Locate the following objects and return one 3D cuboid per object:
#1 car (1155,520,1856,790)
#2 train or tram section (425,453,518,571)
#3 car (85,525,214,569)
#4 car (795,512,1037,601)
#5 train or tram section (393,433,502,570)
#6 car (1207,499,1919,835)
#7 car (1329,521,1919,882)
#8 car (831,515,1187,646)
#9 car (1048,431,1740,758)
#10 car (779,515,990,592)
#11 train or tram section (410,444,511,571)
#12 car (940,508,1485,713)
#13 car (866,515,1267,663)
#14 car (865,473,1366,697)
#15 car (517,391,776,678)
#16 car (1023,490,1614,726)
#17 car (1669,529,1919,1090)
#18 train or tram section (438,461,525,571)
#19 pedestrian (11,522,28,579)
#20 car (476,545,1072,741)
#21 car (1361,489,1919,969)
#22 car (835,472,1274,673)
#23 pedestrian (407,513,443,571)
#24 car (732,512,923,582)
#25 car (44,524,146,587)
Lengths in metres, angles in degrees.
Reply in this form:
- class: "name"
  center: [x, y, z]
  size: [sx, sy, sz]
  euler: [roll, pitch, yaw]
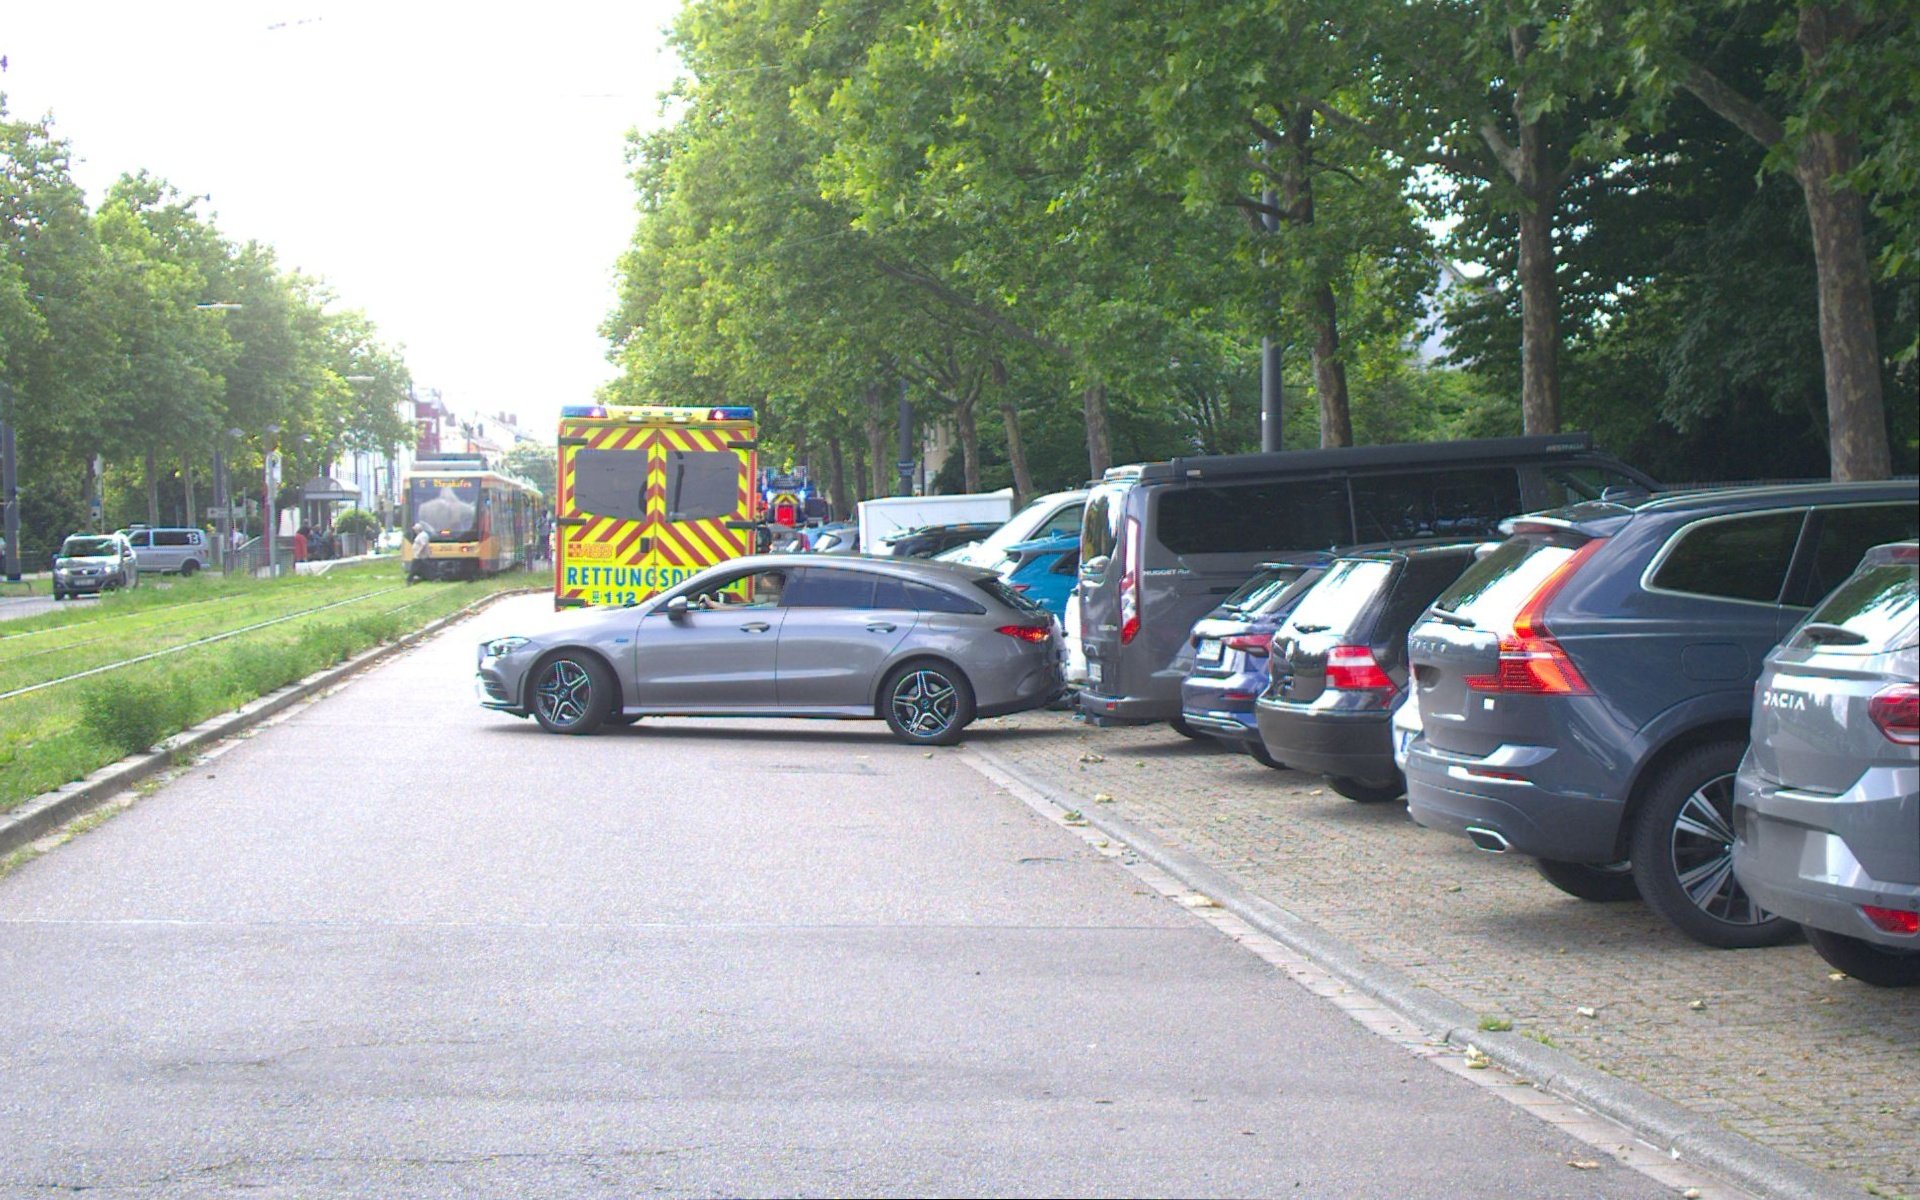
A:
- class: "car"
  center: [3.331, 0.311, 21.419]
  size: [3.965, 1.489, 1.756]
  euler: [-2, 1, -5]
- class: "train or tram section"
  center: [-15.618, -2.757, 110.283]
  size: [2.511, 3.572, 7.446]
  euler: [-2, 1, -6]
- class: "car"
  center: [-31.759, -2.083, 134.786]
  size: [4.615, 1.627, 1.882]
  euler: [-2, 2, -44]
- class: "car"
  center: [-0.896, -0.874, 68.163]
  size: [4.544, 1.603, 1.856]
  euler: [-2, 1, -9]
- class: "train or tram section"
  center: [-14.175, -2.652, 95.472]
  size: [2.511, 3.572, 7.446]
  euler: [-2, 1, -6]
- class: "car"
  center: [3.523, 0.301, 18.619]
  size: [3.964, 1.600, 1.757]
  euler: [-2, 1, -15]
- class: "car"
  center: [3.857, 0.400, 15.916]
  size: [3.965, 1.489, 1.756]
  euler: [-2, 1, -5]
- class: "car"
  center: [0.634, -0.281, 46.658]
  size: [4.544, 1.603, 1.856]
  euler: [-2, 1, -9]
- class: "car"
  center: [3.027, -0.066, 24.516]
  size: [4.545, 2.116, 1.856]
  euler: [-2, 1, -5]
- class: "car"
  center: [-1.734, -1.070, 77.978]
  size: [4.544, 1.603, 1.856]
  euler: [-2, 1, -9]
- class: "train or tram section"
  center: [-14.900, -2.704, 102.870]
  size: [2.511, 3.572, 7.446]
  euler: [-2, 1, -6]
- class: "car"
  center: [2.234, 0.067, 30.977]
  size: [4.544, 1.655, 1.856]
  euler: [-2, 1, -9]
- class: "car"
  center: [1.253, -0.154, 41.535]
  size: [4.544, 1.603, 1.856]
  euler: [-2, 1, -9]
- class: "car"
  center: [1.474, -0.169, 33.456]
  size: [4.544, 1.994, 1.856]
  euler: [-2, 1, -9]
- class: "car"
  center: [-3.532, -0.743, 39.680]
  size: [2.641, 2.956, 6.300]
  euler: [2, 1, -4]
- class: "car"
  center: [2.912, 0.039, 28.490]
  size: [4.545, 1.760, 1.856]
  euler: [-2, 1, -5]
- class: "car"
  center: [4.542, 0.501, 10.345]
  size: [4.380, 1.496, 1.756]
  euler: [-2, 2, -3]
- class: "train or tram section"
  center: [-16.329, -2.810, 117.694]
  size: [2.511, 3.572, 7.446]
  euler: [-2, 1, -6]
- class: "pedestrian"
  center: [-28.598, -1.510, 104.578]
  size: [0.421, 1.724, 0.467]
  euler: [-1, 1, -10]
- class: "car"
  center: [-1.400, 0.306, 27.010]
  size: [4.454, 1.381, 1.766]
  euler: [1, 1, 5]
- class: "car"
  center: [3.862, 0.394, 13.015]
  size: [4.380, 1.634, 1.756]
  euler: [-2, 1, -3]
- class: "car"
  center: [1.006, -0.324, 38.027]
  size: [4.544, 2.036, 1.856]
  euler: [-2, 1, -9]
- class: "pedestrian"
  center: [-14.137, -1.536, 90.838]
  size: [0.880, 1.520, 0.751]
  euler: [1, 0, -6]
- class: "car"
  center: [-3.334, -1.327, 86.108]
  size: [4.544, 1.603, 1.856]
  euler: [-2, 1, -9]
- class: "car"
  center: [-22.897, -1.212, 91.141]
  size: [1.993, 1.552, 4.371]
  euler: [-2, 2, -6]
